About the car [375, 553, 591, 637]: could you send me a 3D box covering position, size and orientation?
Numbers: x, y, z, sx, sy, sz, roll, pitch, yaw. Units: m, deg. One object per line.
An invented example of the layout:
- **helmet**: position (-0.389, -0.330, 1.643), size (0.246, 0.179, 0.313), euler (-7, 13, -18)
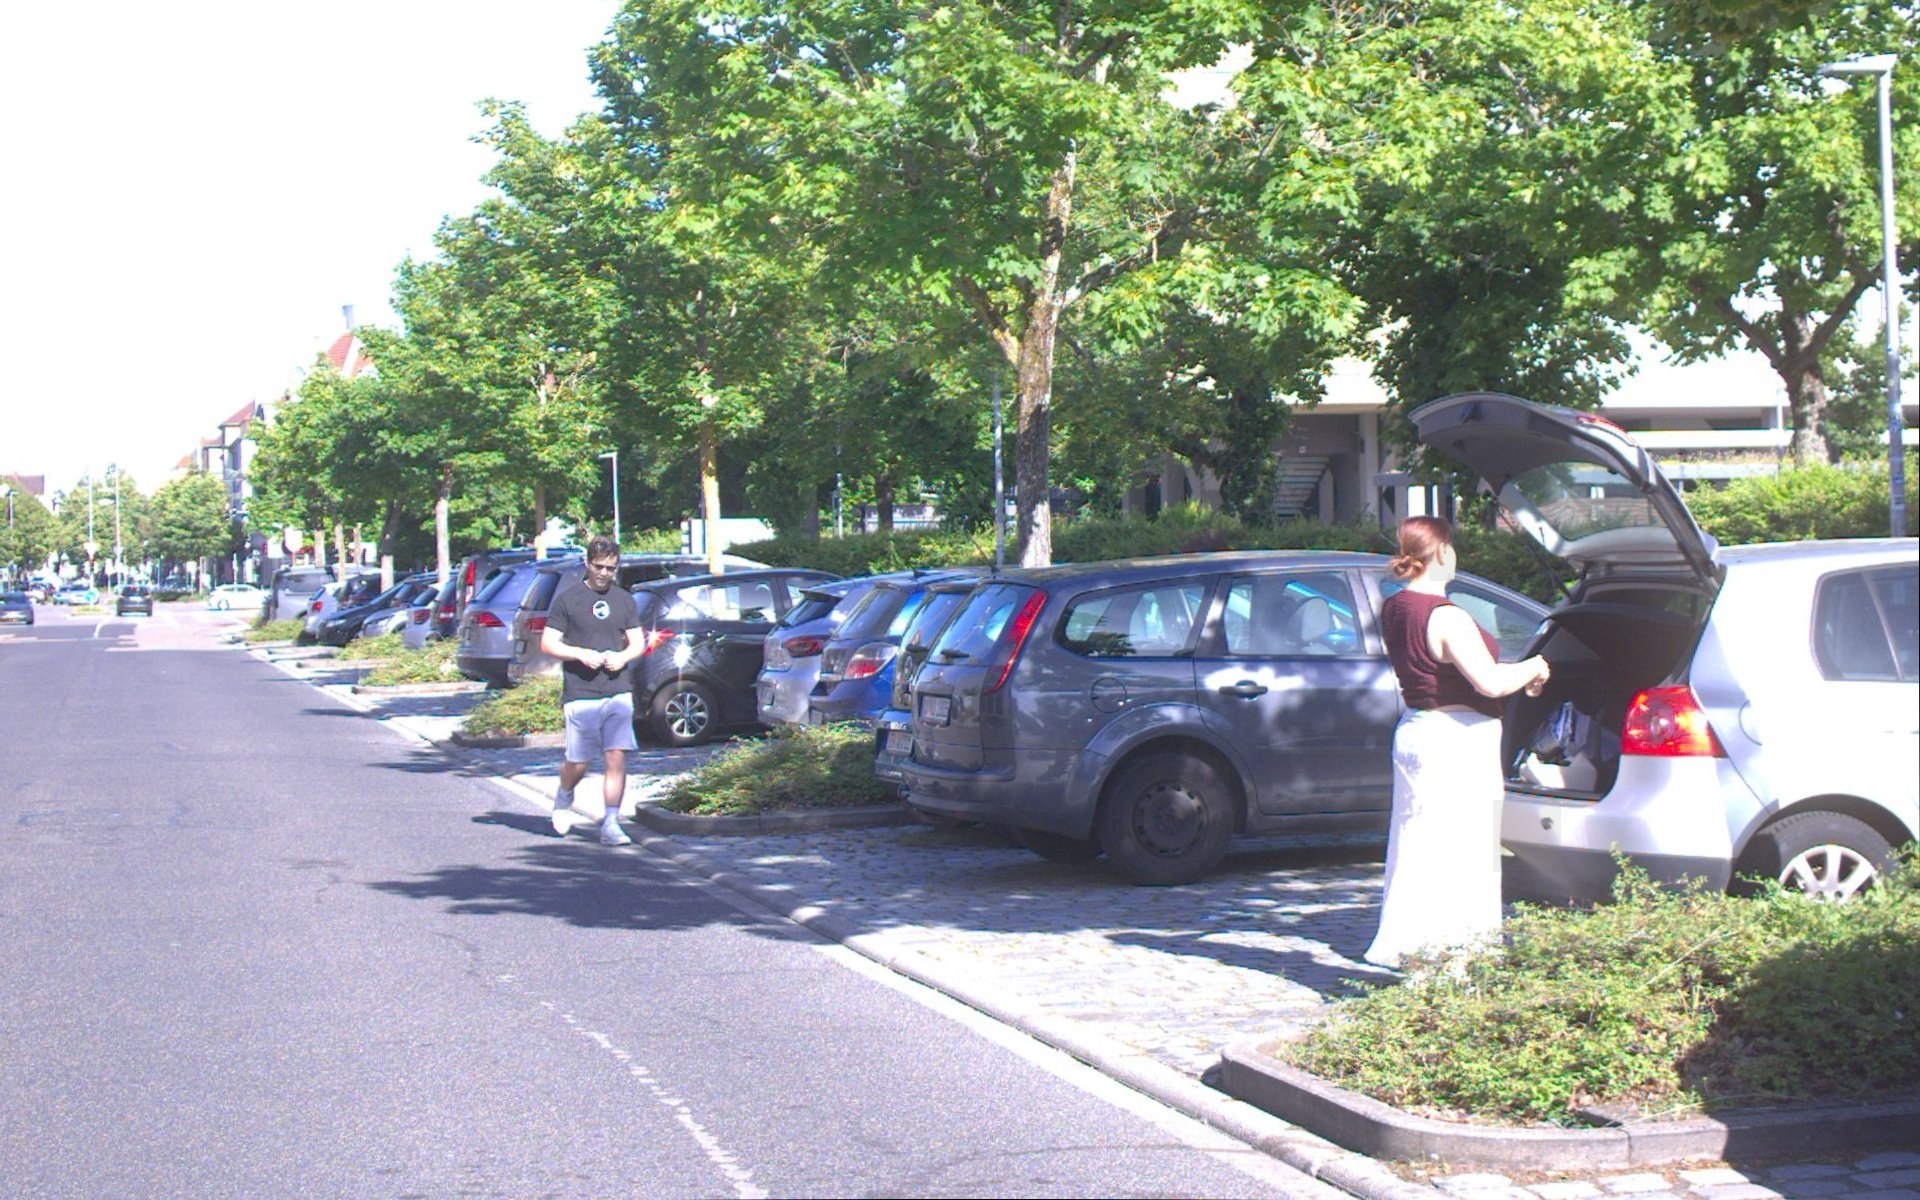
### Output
- **car**: position (-9.098, -0.109, 65.523), size (3.861, 1.499, 1.653), euler (-2, 1, -16)

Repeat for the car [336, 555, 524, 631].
- **car**: position (-11.890, -0.167, 77.060), size (3.986, 1.576, 2.032), euler (-1, 0, -13)

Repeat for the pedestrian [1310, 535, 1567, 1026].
- **pedestrian**: position (1.608, 0.577, 11.480), size (0.765, 1.573, 0.673), euler (0, 2, 15)

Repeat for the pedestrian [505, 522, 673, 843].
- **pedestrian**: position (-2.159, 0.458, 19.894), size (0.719, 1.765, 1.169), euler (-3, 1, -15)

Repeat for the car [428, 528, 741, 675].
- **car**: position (-5.348, -0.010, 48.810), size (4.117, 1.921, 1.979), euler (-2, 2, -15)

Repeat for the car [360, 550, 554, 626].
- **car**: position (-10.872, -0.252, 74.213), size (3.986, 1.533, 1.862), euler (-1, 0, -13)

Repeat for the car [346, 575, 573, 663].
- **car**: position (-9.125, 0.329, 62.632), size (3.899, 1.481, 1.743), euler (-1, 1, -14)

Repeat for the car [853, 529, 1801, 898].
- **car**: position (1.742, 0.484, 16.668), size (4.184, 1.514, 1.737), euler (-2, 1, -15)

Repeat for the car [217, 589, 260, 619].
- **car**: position (-38.978, 0.210, 185.709), size (1.989, 1.469, 4.112), euler (-2, 2, -16)

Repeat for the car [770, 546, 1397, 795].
- **car**: position (0.797, 0.438, 23.379), size (3.894, 1.492, 1.843), euler (-2, 1, -12)

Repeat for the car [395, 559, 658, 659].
- **car**: position (-7.063, 0.141, 55.872), size (4.061, 1.421, 1.742), euler (-3, 0, -12)

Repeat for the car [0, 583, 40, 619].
- **car**: position (-42.253, 0.046, 154.312), size (1.811, 1.469, 4.112), euler (-2, 2, -14)

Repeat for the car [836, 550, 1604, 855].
- **car**: position (1.413, 0.510, 19.024), size (3.898, 1.463, 1.622), euler (-2, 2, -15)

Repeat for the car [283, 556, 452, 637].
- **car**: position (-14.620, -0.094, 84.832), size (3.986, 1.873, 1.683), euler (-1, 1, -13)

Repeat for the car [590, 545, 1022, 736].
- **car**: position (-1.386, 0.345, 30.392), size (3.452, 1.484, 1.747), euler (-3, 0, -15)

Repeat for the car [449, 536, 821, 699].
- **car**: position (-3.722, 0.165, 39.149), size (3.898, 1.689, 1.941), euler (-2, 2, -15)

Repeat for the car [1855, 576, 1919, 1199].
- **car**: position (4.112, 0.604, 7.365), size (3.898, 1.421, 1.673), euler (-2, 0, -15)

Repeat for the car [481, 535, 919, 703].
- **car**: position (-2.808, 0.177, 36.906), size (4.319, 1.602, 1.913), euler (-2, 1, -17)

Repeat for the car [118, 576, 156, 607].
- **car**: position (-43.427, -0.459, 181.451), size (1.811, 1.469, 4.112), euler (-1, 2, -13)

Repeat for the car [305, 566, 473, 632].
- **car**: position (-13.536, -0.035, 81.400), size (3.765, 1.454, 1.818), euler (-2, 0, -14)

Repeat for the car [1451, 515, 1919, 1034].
- **car**: position (3.874, 0.493, 12.050), size (3.898, 1.572, 1.680), euler (-2, 2, -15)

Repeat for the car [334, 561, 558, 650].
- **car**: position (-10.104, 0.093, 67.483), size (4.143, 1.574, 1.741), euler (-2, 1, -14)

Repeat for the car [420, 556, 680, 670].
- **car**: position (-6.134, 0.179, 51.327), size (3.605, 1.544, 1.707), euler (-2, 2, -15)

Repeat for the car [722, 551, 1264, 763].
- **car**: position (0.211, 0.394, 25.866), size (3.731, 1.411, 1.843), euler (-2, 1, -12)
